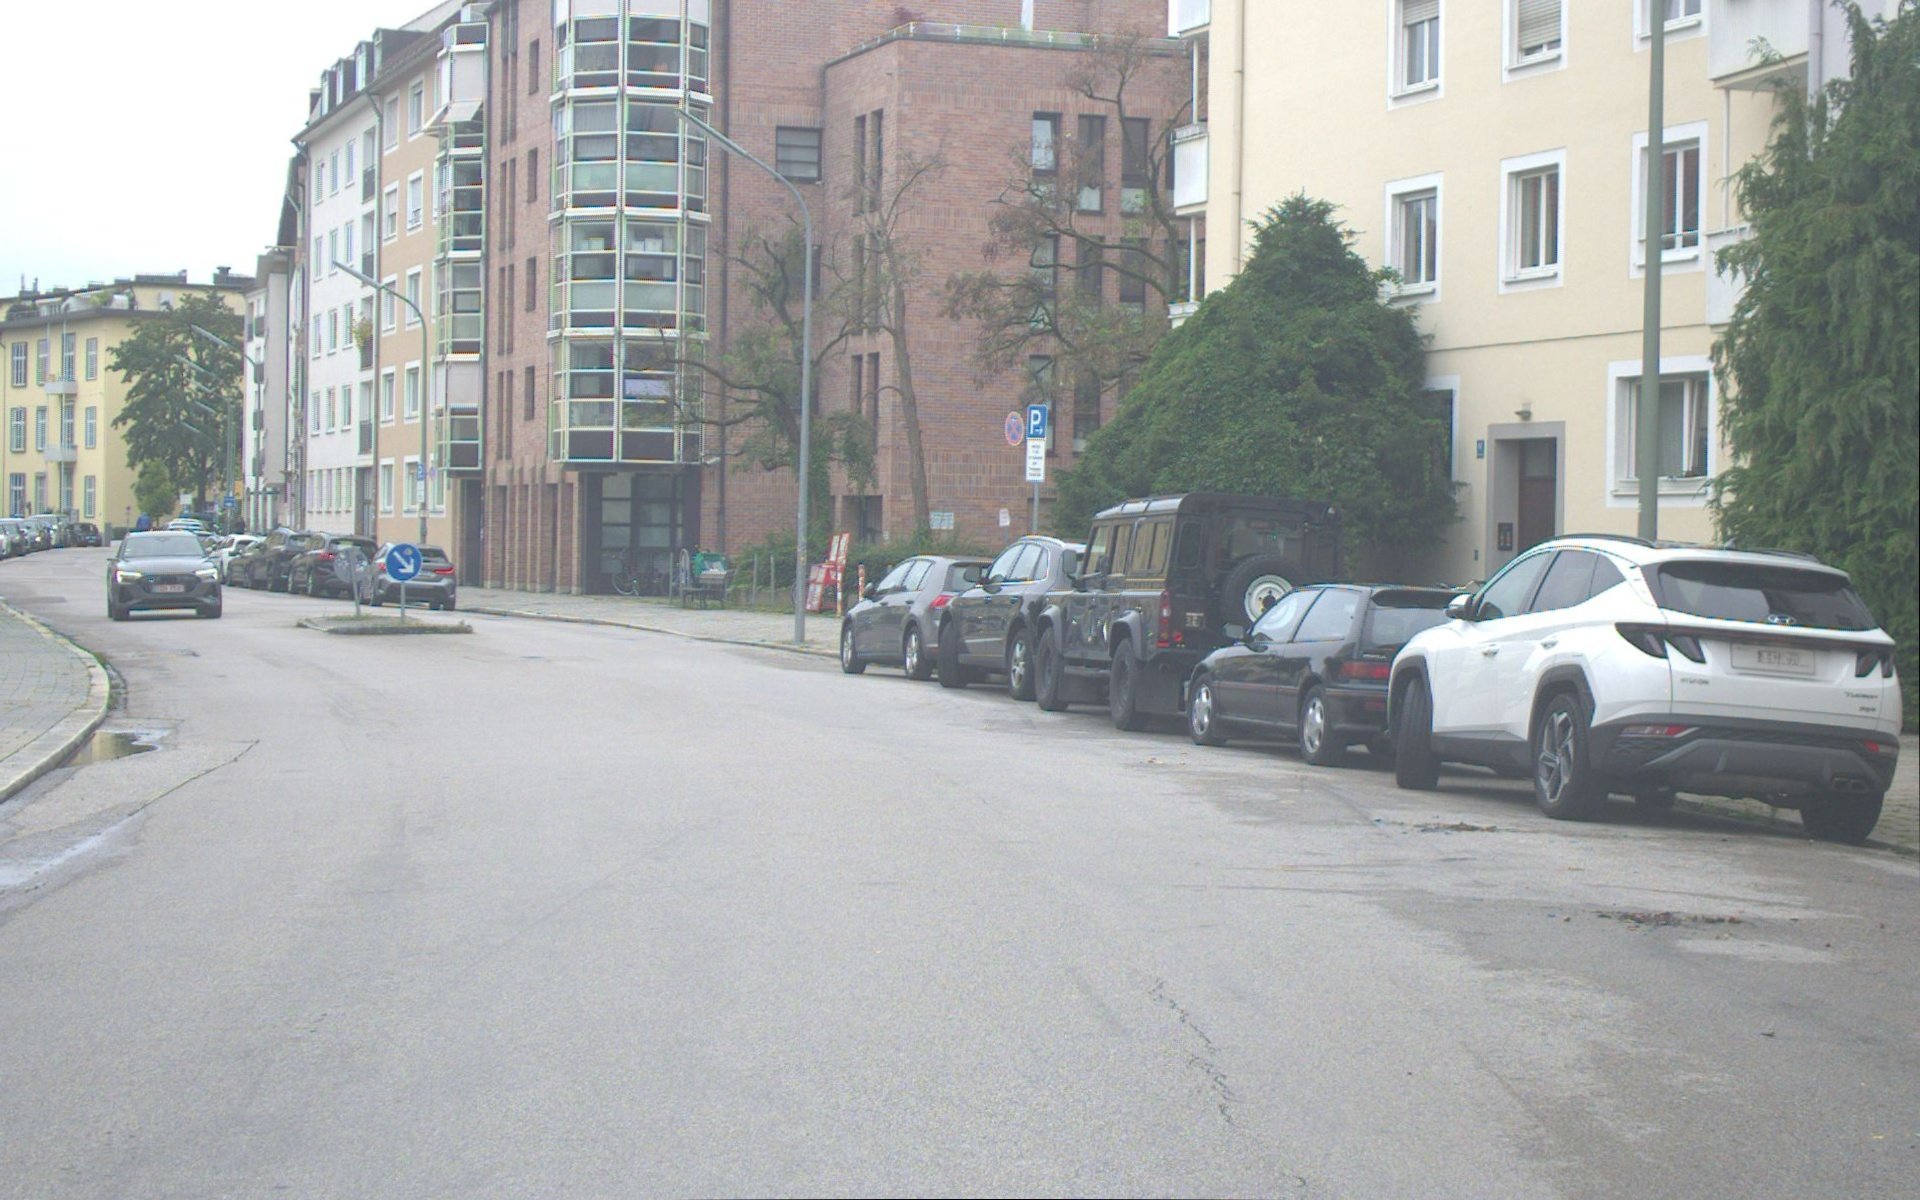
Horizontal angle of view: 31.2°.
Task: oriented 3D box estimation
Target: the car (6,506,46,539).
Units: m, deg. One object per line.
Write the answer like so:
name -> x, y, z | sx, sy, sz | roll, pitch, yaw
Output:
car -> -43.786, -3.654, 161.218 | 1.632, 1.478, 3.612 | 1, 1, -13

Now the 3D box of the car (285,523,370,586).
car -> -15.616, -1.136, 84.809 | 1.632, 1.478, 3.612 | 1, 1, -17

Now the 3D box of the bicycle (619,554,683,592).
bicycle -> -7.444, -0.657, 82.692 | 1.101, 0.851, 1.728 | 1, 1, -20

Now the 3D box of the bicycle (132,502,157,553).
bicycle -> -36.047, -3.210, 152.021 | 1.025, 2.007, 3.282 | 1, -3, -13

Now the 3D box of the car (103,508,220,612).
car -> -14.807, -0.762, 63.739 | 1.993, 1.829, 4.168 | 1, 1, -13

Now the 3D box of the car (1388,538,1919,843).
car -> 4.025, 0.457, 20.444 | 1.830, 1.568, 4.001 | 1, 1, -9

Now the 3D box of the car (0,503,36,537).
car -> -42.261, -3.581, 153.764 | 1.632, 1.478, 3.612 | 1, 1, -13

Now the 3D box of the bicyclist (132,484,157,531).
bicyclist -> -35.993, -4.093, 151.723 | 1.033, 2.007, 1.186 | 2, -1, -13

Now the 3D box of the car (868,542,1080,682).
car -> 0.109, 0.104, 39.473 | 1.780, 1.505, 3.721 | 1, 1, -10

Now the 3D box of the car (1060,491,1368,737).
car -> 2.120, 0.073, 29.708 | 1.780, 1.970, 3.721 | -1, 1, -10

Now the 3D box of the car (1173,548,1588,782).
car -> 3.007, 0.426, 25.353 | 1.780, 1.513, 3.721 | 2, 1, -14

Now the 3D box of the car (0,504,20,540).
car -> -40.279, -3.277, 143.837 | 1.632, 1.478, 3.612 | 1, 1, -13

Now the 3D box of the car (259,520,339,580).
car -> -17.271, -1.314, 89.752 | 1.632, 1.478, 3.612 | 1, 1, -17

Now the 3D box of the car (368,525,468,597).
car -> -11.844, -0.874, 74.948 | 1.632, 1.478, 3.612 | 1, 1, -17

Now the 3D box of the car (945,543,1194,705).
car -> 1.056, 0.208, 35.089 | 1.780, 1.505, 3.721 | 2, 1, -10
